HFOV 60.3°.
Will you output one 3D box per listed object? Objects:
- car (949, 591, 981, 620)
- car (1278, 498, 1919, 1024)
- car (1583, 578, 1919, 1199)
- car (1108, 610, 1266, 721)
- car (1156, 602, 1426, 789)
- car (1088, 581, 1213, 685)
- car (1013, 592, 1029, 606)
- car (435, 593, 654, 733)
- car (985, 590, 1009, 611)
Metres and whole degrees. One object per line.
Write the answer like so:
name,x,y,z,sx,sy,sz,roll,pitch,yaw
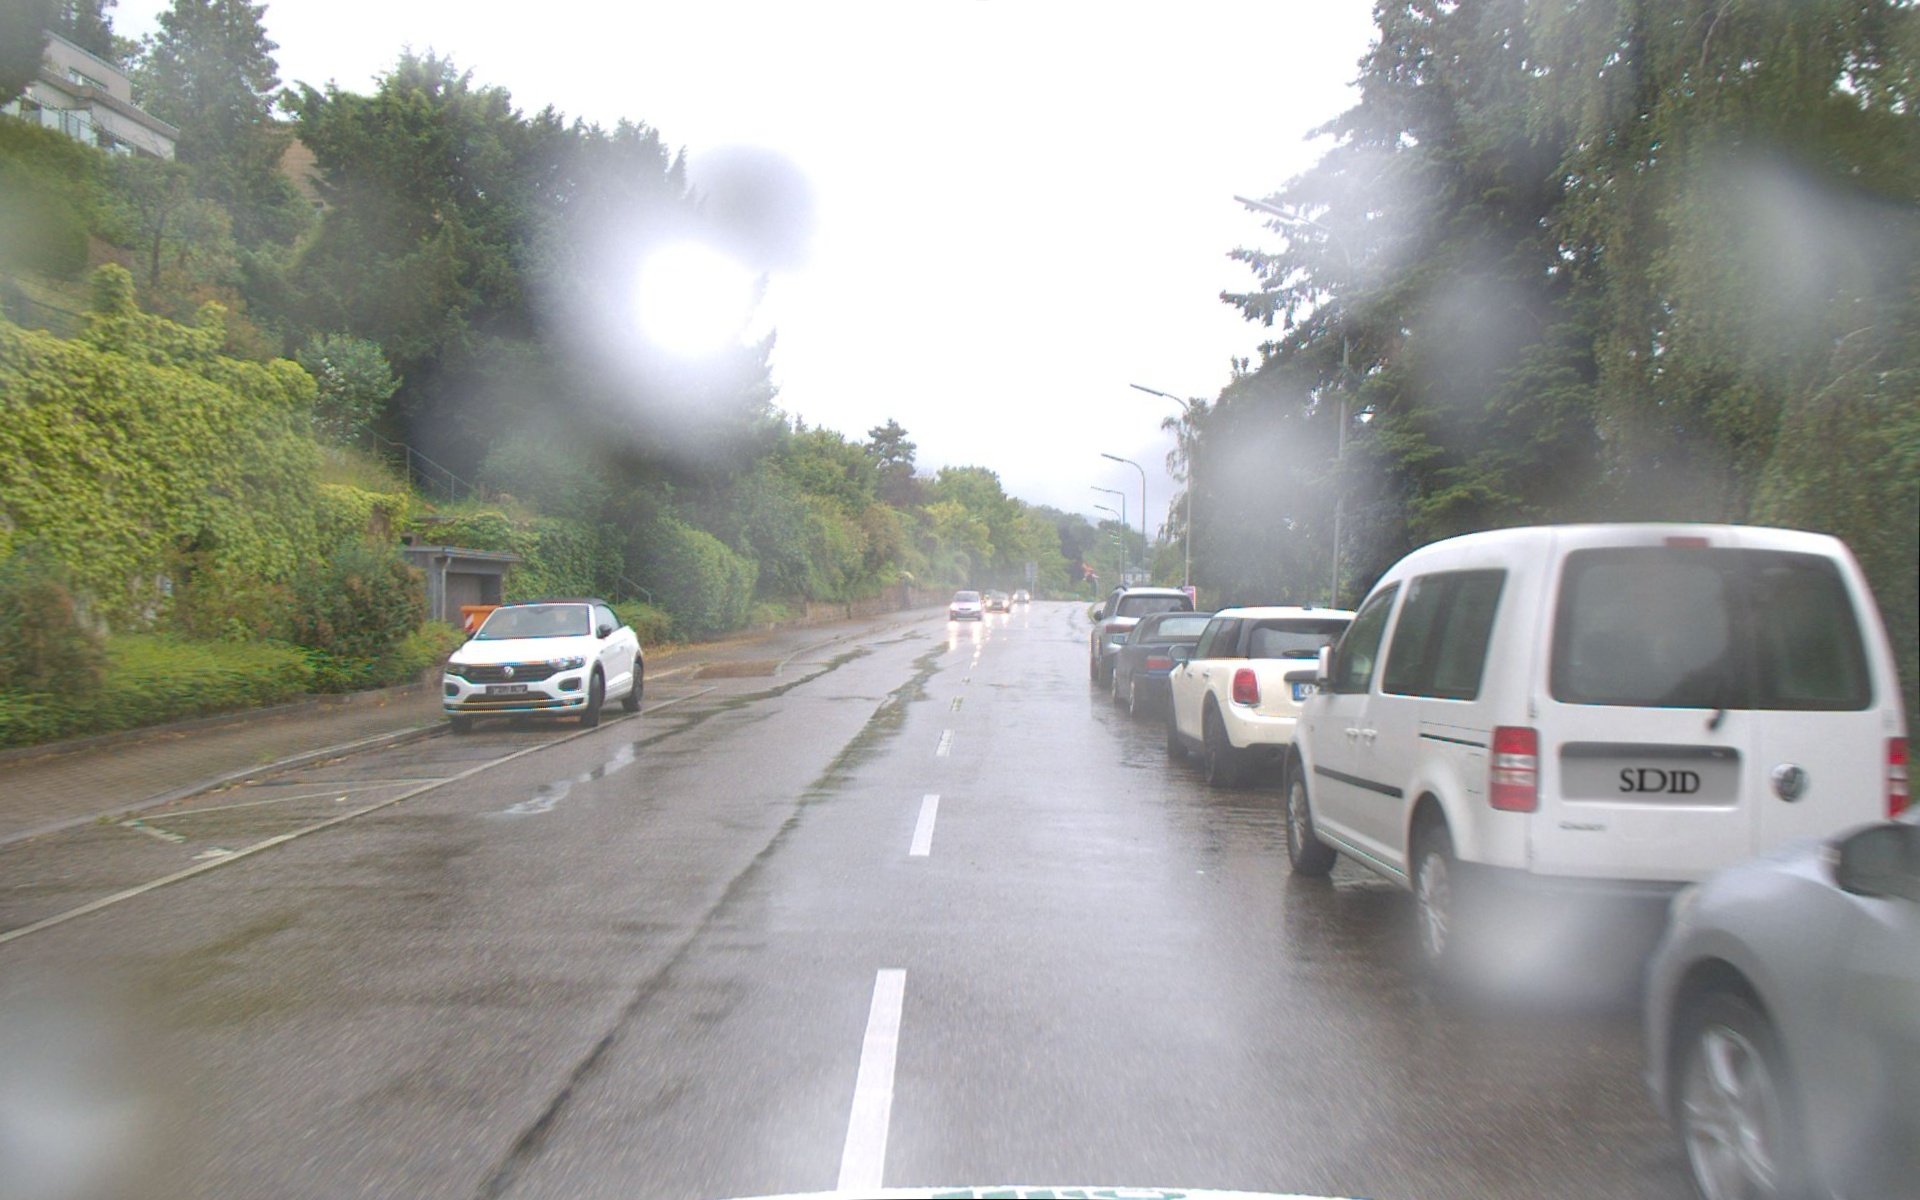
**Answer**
car,0.228,0.288,87.010,1.628,1.486,3.661,0,0,-1
car,2.772,0.558,7.918,1.747,1.822,4.362,0,0,1
car,2.643,0.699,2.644,1.752,1.485,4.309,0,0,1
car,2.935,0.803,22.167,1.597,1.304,4.448,0,0,1
car,2.797,0.738,14.849,1.674,1.428,4.204,0,0,1
car,3.268,0.536,29.044,1.778,1.674,4.396,0,0,1
car,6.539,-0.082,177.385,1.723,1.522,4.128,0,0,2
car,-5.070,0.706,20.725,1.720,1.524,4.219,-2,0,-1
car,2.570,0.033,115.556,1.620,1.375,3.988,0,0,1
